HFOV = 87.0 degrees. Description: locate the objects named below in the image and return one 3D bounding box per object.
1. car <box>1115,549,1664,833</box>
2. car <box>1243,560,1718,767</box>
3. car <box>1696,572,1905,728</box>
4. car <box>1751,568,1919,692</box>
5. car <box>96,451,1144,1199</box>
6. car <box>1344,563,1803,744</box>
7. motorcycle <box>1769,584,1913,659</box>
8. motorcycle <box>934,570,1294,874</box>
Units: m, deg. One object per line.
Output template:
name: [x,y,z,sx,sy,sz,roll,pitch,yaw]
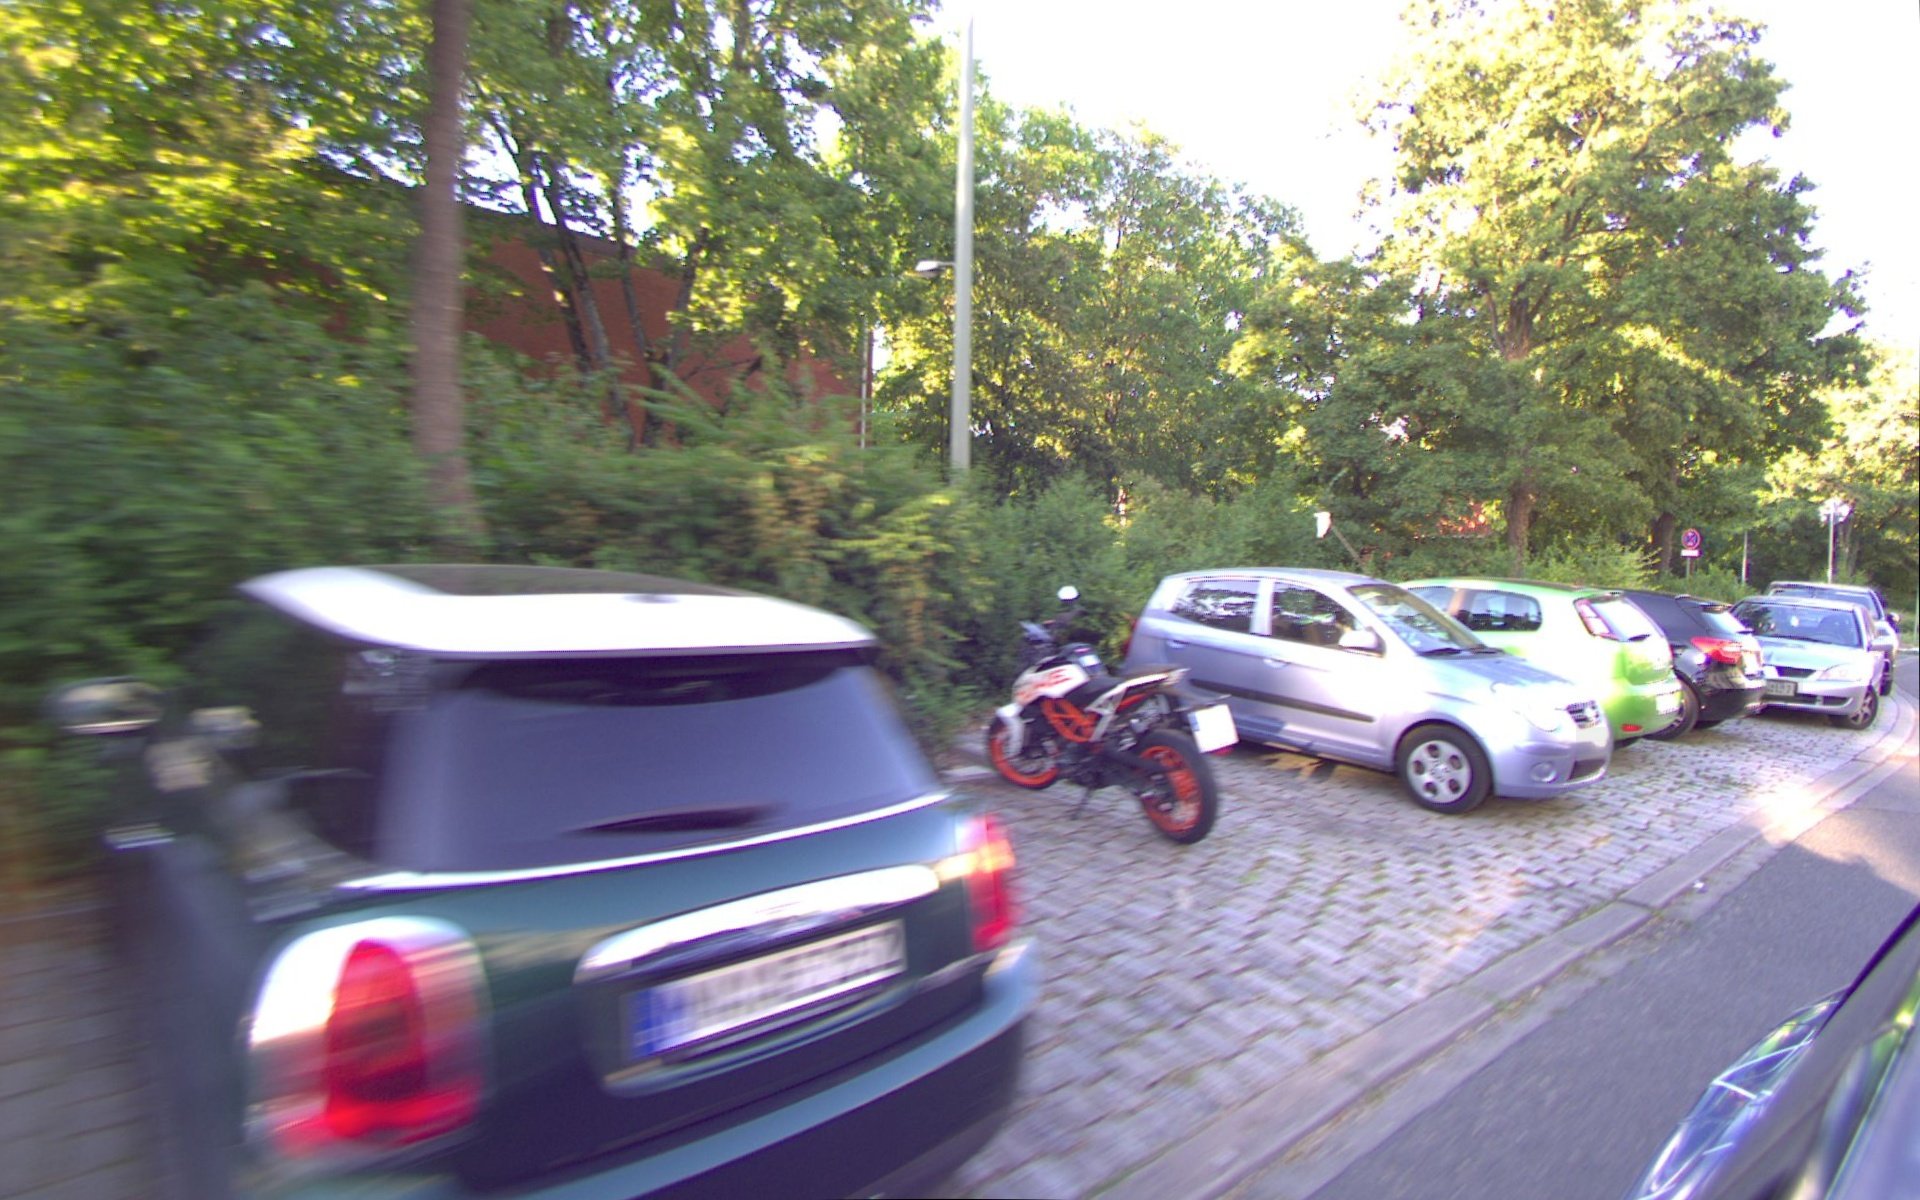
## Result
car: [3.030,0.456,7.654,1.642,1.544,3.394,0,4,-40]
car: [4.708,0.434,9.549,1.642,1.559,3.635,0,1,-39]
car: [10.698,0.521,12.764,1.651,1.587,4.232,4,3,44]
car: [14.784,0.398,17.220,1.920,1.770,4.600,4,3,39]
car: [-1.452,0.434,3.017,1.643,1.543,3.619,1,5,-42]
car: [6.554,0.426,11.172,1.709,1.530,3.958,0,3,-40]
motorcycle: [20.394,0.448,23.470,1.020,1.564,2.300,0,2,-36]
motorcycle: [0.761,0.547,5.794,0.763,1.319,2.101,1,4,-34]
